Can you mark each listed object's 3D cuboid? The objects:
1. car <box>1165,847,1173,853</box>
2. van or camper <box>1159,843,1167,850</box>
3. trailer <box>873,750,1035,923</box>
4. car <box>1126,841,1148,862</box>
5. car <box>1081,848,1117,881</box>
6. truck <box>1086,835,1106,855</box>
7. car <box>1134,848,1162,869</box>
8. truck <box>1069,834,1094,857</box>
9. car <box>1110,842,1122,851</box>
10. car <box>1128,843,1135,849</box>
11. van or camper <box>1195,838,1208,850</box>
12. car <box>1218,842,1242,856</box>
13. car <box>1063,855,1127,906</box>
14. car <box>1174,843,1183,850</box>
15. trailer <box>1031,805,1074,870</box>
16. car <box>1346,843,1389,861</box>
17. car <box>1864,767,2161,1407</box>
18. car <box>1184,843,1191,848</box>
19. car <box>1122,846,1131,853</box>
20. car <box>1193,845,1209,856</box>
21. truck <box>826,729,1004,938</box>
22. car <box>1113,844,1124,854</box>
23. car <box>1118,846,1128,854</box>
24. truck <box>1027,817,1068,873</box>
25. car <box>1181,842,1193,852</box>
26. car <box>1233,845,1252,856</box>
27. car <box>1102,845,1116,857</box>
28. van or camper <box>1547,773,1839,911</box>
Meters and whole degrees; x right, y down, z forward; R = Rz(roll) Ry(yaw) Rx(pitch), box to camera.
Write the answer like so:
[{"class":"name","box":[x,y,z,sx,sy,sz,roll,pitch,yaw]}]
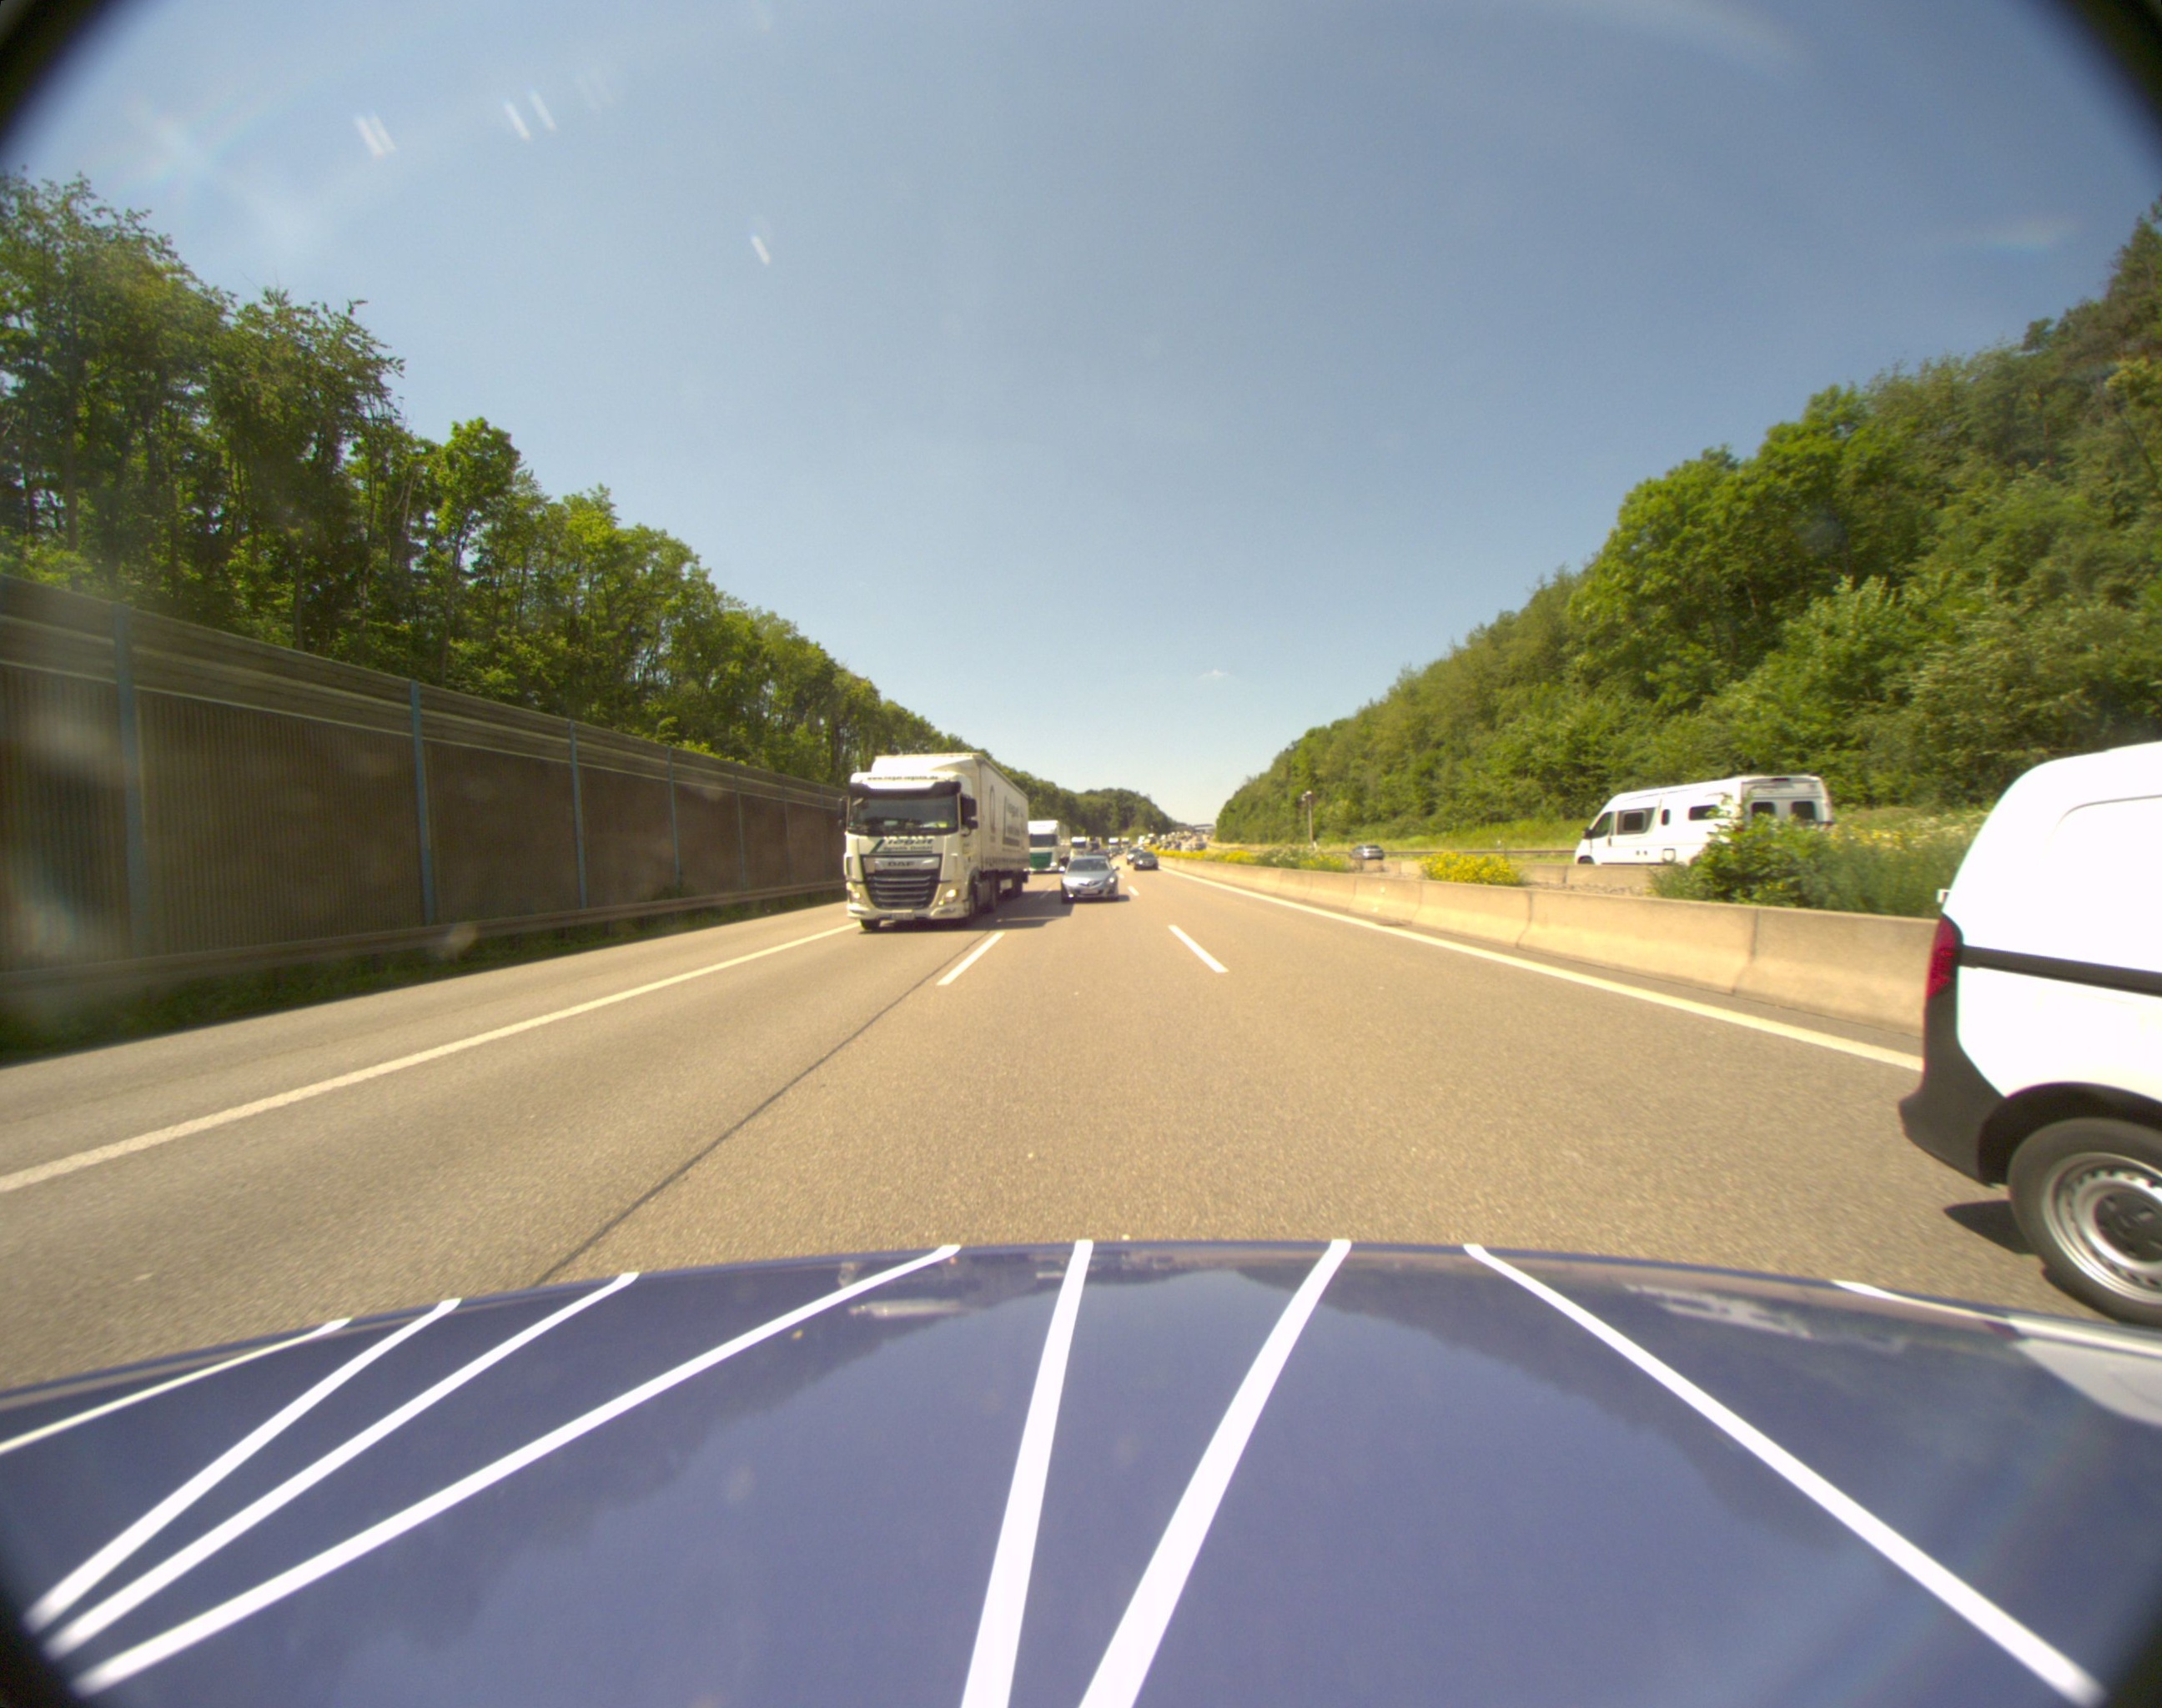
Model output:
[{"class":"car","box":[21.702,-0.979,187.076,1.812,1.477,3.856,-2,0,4]},{"class":"van or camper","box":[23.044,-2.184,214.578,1.887,2.002,4.587,-2,2,1]},{"class":"trailer","box":[-3.547,-0.428,25.401,2.793,4.180,13.243,-2,0,1]},{"class":"car","box":[5.864,-0.281,80.041,1.999,2.002,3.998,-2,2,-1]},{"class":"car","box":[1.021,0.550,42.622,1.887,1.696,4.084,-2,0,1]},{"class":"truck","box":[3.020,-1.883,151.147,3.557,3.695,7.550,-2,2,3]},{"class":"car","box":[5.122,0.327,58.663,1.720,1.470,3.999,-2,1,-1]},{"class":"truck","box":[0.173,-1.331,118.407,3.262,3.337,6.863,-2,2,4]},{"class":"car","box":[10.435,-2.241,225.714,2.696,2.468,6.586,-2,2,8]},{"class":"car","box":[15.516,-2.597,233.264,1.998,1.728,4.001,-2,2,6]},{"class":"van or camper","box":[26.789,-2.273,169.394,2.191,2.546,6.931,-2,2,3]},{"class":"car","box":[17.674,-0.557,90.325,1.998,1.577,4.273,-2,1,2]},{"class":"car","box":[0.403,0.794,25.008,1.887,1.459,4.247,-2,0,-1]},{"class":"car","box":[27.908,-2.185,217.685,1.998,1.681,4.401,-2,2,3]},{"class":"trailer","box":[-2.297,-1.472,66.547,2.574,5.012,15.269,-2,2,2]},{"class":"car","box":[23.699,-0.190,62.920,1.998,1.424,4.191,-2,0,1]},{"class":"car","box":[3.881,0.649,0.591,1.769,1.802,4.673,-2,1,1]},{"class":"car","box":[33.255,-2.702,236.869,1.997,1.607,4.486,-2,0,8]},{"class":"car","box":[11.751,-1.115,196.485,1.998,1.728,4.001,-2,2,6]},{"class":"car","box":[19.472,-0.606,123.491,1.998,1.581,4.162,-2,2,1]},{"class":"truck","box":[-3.698,-0.408,18.493,2.793,4.180,5.869,-2,0,1]},{"class":"car","box":[7.261,-0.977,146.298,1.998,1.728,4.000,-2,2,6]},{"class":"car","box":[9.549,-0.904,172.670,1.997,1.728,4.001,-2,2,8]},{"class":"truck","box":[-2.497,-0.755,58.864,2.542,4.007,6.624,-2,2,2]},{"class":"car","box":[21.938,-1.471,156.938,1.998,2.002,4.567,-2,2,4]},{"class":"car","box":[22.685,-0.509,106.748,1.792,1.448,3.999,-2,2,1]},{"class":"car","box":[4.485,-0.482,121.741,1.998,1.728,4.000,-2,2,6]},{"class":"van or camper","box":[15.112,-0.282,19.550,2.263,2.882,6.556,-2,0,1]}]
